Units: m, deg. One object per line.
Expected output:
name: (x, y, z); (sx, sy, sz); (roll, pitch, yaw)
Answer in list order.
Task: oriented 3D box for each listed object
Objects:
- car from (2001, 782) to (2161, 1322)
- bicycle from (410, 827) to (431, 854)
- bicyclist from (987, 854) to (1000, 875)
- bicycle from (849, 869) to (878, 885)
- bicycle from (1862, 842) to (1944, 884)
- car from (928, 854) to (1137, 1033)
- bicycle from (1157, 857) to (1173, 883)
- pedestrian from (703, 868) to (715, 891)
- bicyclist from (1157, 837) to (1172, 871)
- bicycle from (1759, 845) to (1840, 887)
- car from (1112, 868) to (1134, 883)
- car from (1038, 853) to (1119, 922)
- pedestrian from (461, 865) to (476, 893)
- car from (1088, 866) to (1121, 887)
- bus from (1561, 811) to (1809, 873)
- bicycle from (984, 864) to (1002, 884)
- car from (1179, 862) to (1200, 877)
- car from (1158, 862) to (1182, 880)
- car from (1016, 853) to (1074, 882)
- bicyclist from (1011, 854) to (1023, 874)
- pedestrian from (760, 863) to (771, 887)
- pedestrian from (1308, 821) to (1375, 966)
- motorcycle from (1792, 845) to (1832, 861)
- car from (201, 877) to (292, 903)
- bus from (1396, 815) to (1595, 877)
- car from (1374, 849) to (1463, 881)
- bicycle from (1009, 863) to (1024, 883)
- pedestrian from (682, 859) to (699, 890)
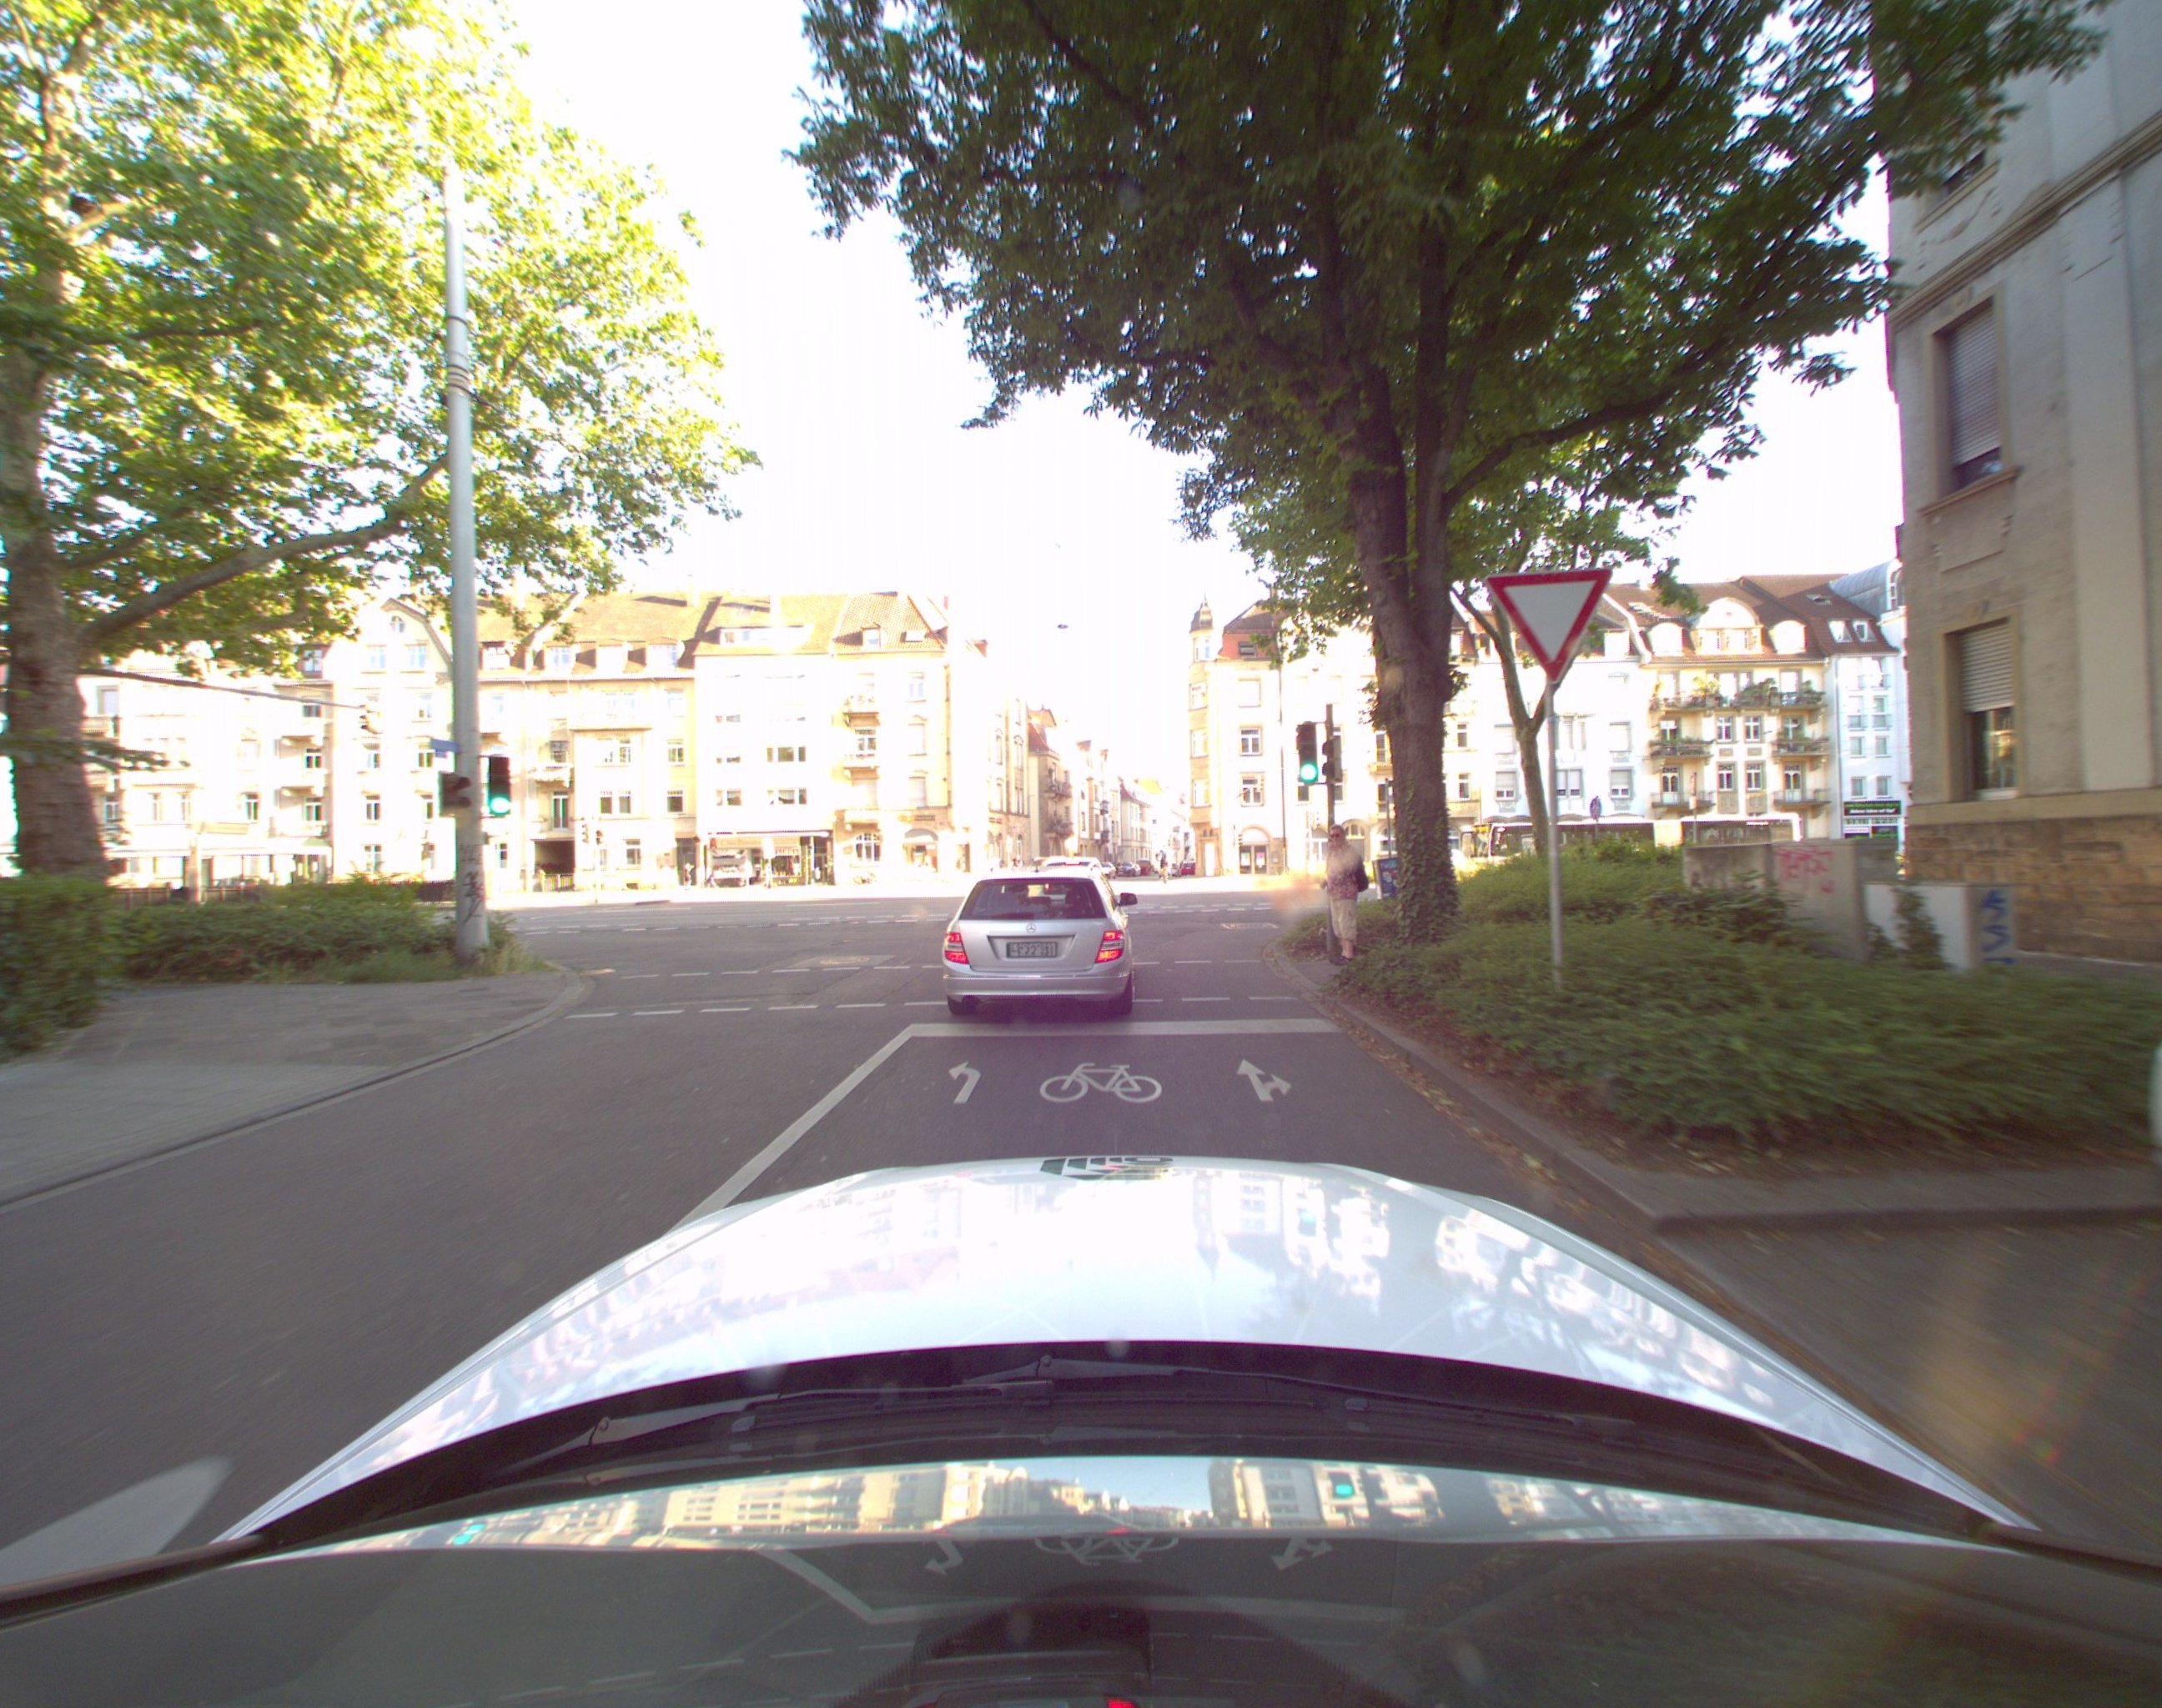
car: (5.136, 0.512, 1.920); (4.022, 1.575, 1.684); (-2, 0, 0)
bicycle: (-43.245, -0.880, 53.312); (0.882, 1.737, 0.561); (0, -1, 3)
bicyclist: (-5.191, 0.619, 48.223); (0.656, 1.236, 0.768); (0, -1, 3)
bicycle: (-14.935, 1.549, 55.866); (1.802, 1.028, 0.492); (-1, 0, -2)
bicycle: (22.500, 0.234, 22.306); (1.922, 1.098, 0.437); (-1, -1, -5)
car: (-0.337, 0.765, 8.850); (1.725, 1.477, 4.174); (0, -1, 2)
bicycle: (3.747, 0.704, 36.529); (0.617, 1.105, 2.554); (0, -1, 3)
pedestrian: (-24.792, 1.686, 54.291); (0.561, 1.564, 0.466); (0, -1, -5)
bicyclist: (3.746, -0.008, 36.542); (0.607, 1.494, 0.768); (0, -1, 3)
bicycle: (19.451, 0.318, 22.055); (1.863, 1.068, 0.371); (-1, -1, -2)
car: (4.787, 2.362, 91.609); (1.817, 1.615, 4.014); (-1, -1, 13)
car: (0.012, 0.734, 19.316); (1.725, 1.480, 3.816); (0, -1, 2)
pedestrian: (-41.115, 1.674, 54.699); (0.473, 1.837, 0.641); (0, -1, 2)
car: (2.038, 1.890, 68.812); (1.816, 1.706, 4.016); (-1, -1, 15)
bus: (34.679, -0.668, 47.076); (11.898, 3.374, 3.265); (0, -1, 0)
bicycle: (-5.186, 1.164, 48.218); (0.648, 1.105, 2.554); (0, -1, 3)
car: (12.121, 1.708, 90.585); (1.817, 1.706, 4.015); (-1, -1, 14)
car: (8.203, 1.567, 74.822); (1.818, 1.615, 4.013); (-1, -1, 12)
car: (-2.465, 0.939, 56.434); (1.896, 1.899, 4.336); (-1, -1, 32)
bicyclist: (-3.893, 0.602, 49.476); (0.607, 1.158, 0.768); (0, -1, 3)
pedestrian: (-21.388, 1.417, 55.248); (0.561, 1.564, 0.466); (0, -1, -5)
pedestrian: (3.356, 0.493, 10.530); (0.696, 1.806, 0.667); (0, -1, 7)
motorcycle: (50.699, -0.075, 56.490); (2.405, 1.021, 0.529); (-1, 2, -2)
car: (-51.544, 2.175, 50.412); (1.939, 1.464, 3.699); (0, -1, -5)
bus: (23.725, -0.426, 47.050); (9.833, 3.374, 3.276); (0, -1, 0)
car: (18.130, 0.587, 43.885); (3.971, 1.684, 1.937); (0, -1, 2)
bicycle: (-3.901, 1.139, 49.357); (0.648, 1.105, 1.926); (0, 1, 3)
pedestrian: (-25.925, 1.331, 54.038); (0.663, 2.014, 0.771); (-1, -1, 8)
